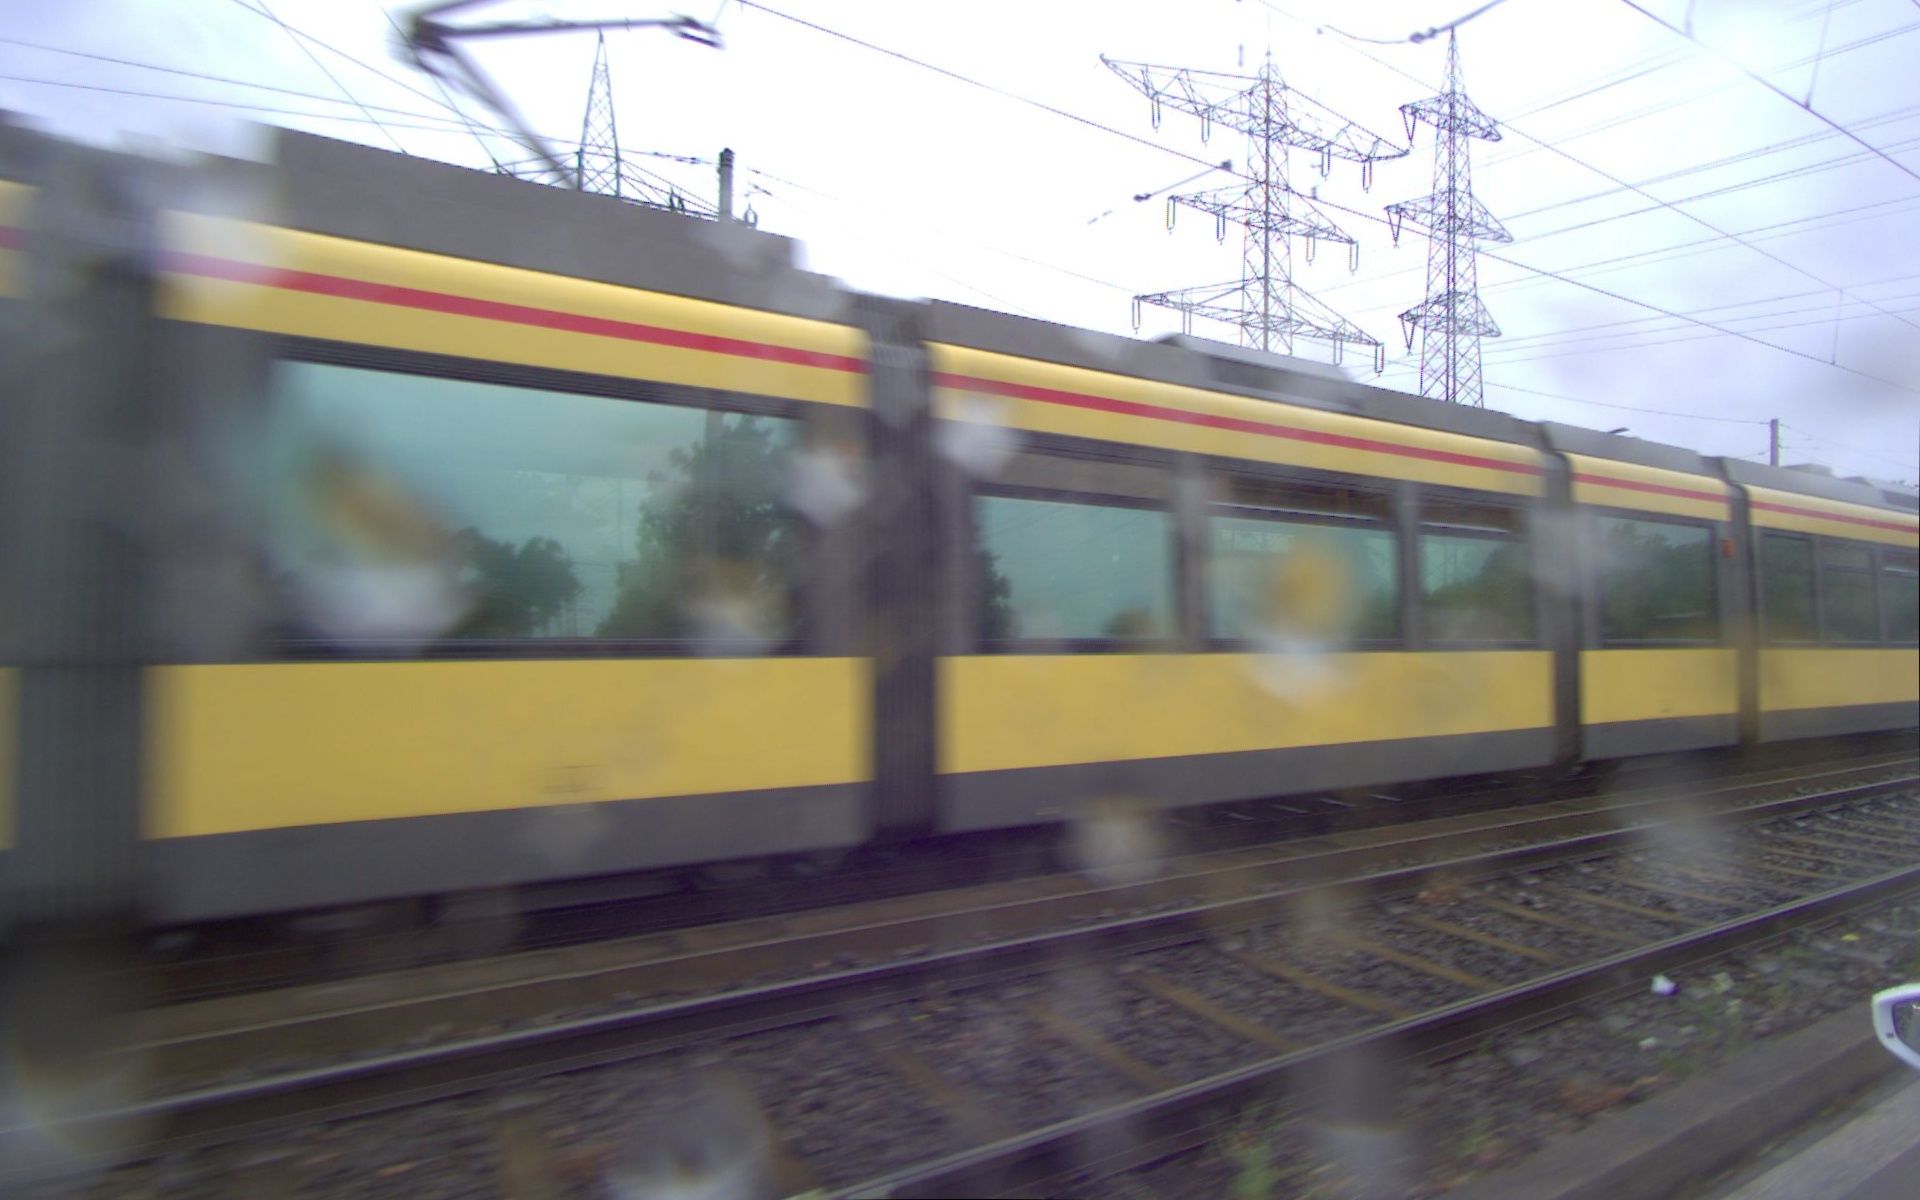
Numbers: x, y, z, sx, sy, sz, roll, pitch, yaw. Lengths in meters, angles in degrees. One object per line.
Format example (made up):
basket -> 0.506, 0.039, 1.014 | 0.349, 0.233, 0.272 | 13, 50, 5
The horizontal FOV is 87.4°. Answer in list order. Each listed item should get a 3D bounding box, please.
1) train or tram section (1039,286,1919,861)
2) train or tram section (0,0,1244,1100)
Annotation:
train or tram section -> 9.698, -0.124, 12.800 | 19.303, 3.755, 2.871 | 0, 0, -31
train or tram section -> -6.498, -0.234, 3.003 | 17.683, 3.755, 2.850 | 0, 0, -31
